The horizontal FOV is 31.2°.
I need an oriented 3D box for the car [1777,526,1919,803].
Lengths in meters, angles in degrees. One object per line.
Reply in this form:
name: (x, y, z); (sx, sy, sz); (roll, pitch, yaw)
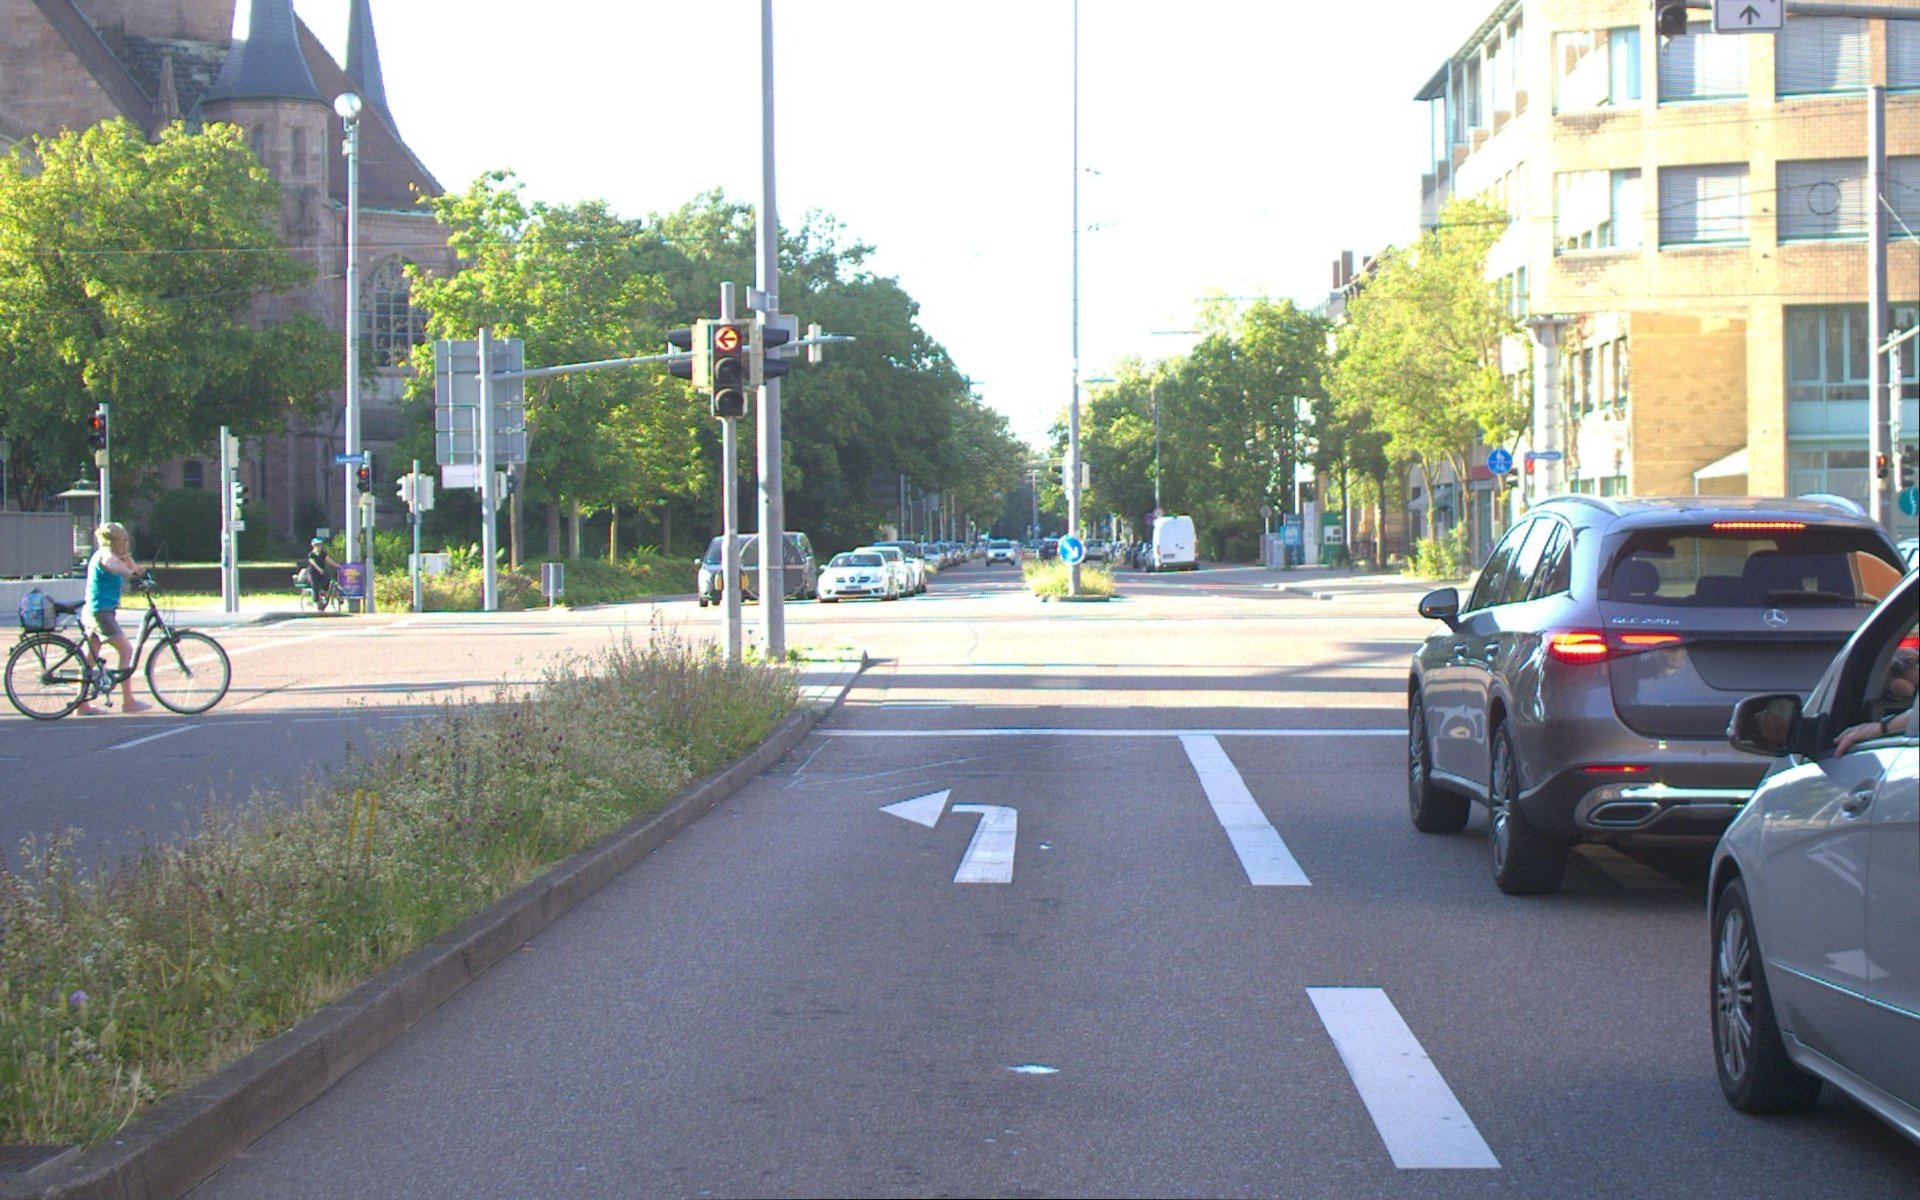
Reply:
car: (5.877, 0.316, 19.662); (1.585, 1.442, 3.648); (1, 1, 1)

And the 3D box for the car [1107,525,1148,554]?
car: (9.575, -3.477, 196.631); (1.993, 1.587, 4.001); (-1, 1, -2)

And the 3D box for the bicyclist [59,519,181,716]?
bicyclist: (-7.217, 0.136, 29.573); (0.782, 1.654, 0.901); (-1, 1, 1)

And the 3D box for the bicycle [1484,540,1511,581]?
bicycle: (16.161, -1.192, 103.427); (0.774, 1.191, 2.464); (0, 1, 9)

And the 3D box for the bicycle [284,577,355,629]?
bicycle: (-14.400, 0.070, 77.275); (1.678, 1.135, 0.646); (1, 2, 41)

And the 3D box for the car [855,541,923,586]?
car: (-2.051, -1.065, 100.240); (1.780, 1.232, 4.000); (0, 1, 2)

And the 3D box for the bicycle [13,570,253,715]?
bicycle: (-6.978, 0.350, 29.068); (1.827, 1.184, 0.734); (-1, 1, 1)

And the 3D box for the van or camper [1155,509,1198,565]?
van or camper: (10.423, -3.053, 165.531); (1.994, 2.631, 5.350); (-1, 1, 3)

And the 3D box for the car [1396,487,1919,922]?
car: (3.080, 0.336, 15.173); (1.784, 1.627, 4.479); (-1, 1, 1)

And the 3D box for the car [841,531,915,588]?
car: (-2.197, -1.118, 92.975); (1.780, 1.459, 4.000); (0, 1, 2)

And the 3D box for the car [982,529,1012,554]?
car: (2.287, -3.604, 211.006); (1.780, 1.444, 4.000); (0, 1, 2)

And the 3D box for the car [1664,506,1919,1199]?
car: (2.775, 0.574, 7.365); (1.803, 1.563, 3.619); (-1, 1, 0)

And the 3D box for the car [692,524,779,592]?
car: (-5.665, -1.077, 87.063); (1.780, 1.641, 4.000); (0, 1, 2)

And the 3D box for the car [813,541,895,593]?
car: (-2.647, -0.841, 86.417); (1.780, 1.232, 4.000); (0, 1, 2)

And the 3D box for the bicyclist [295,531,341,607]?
bicyclist: (-14.441, -0.700, 77.285); (0.781, 1.688, 0.639); (0, 2, 42)
